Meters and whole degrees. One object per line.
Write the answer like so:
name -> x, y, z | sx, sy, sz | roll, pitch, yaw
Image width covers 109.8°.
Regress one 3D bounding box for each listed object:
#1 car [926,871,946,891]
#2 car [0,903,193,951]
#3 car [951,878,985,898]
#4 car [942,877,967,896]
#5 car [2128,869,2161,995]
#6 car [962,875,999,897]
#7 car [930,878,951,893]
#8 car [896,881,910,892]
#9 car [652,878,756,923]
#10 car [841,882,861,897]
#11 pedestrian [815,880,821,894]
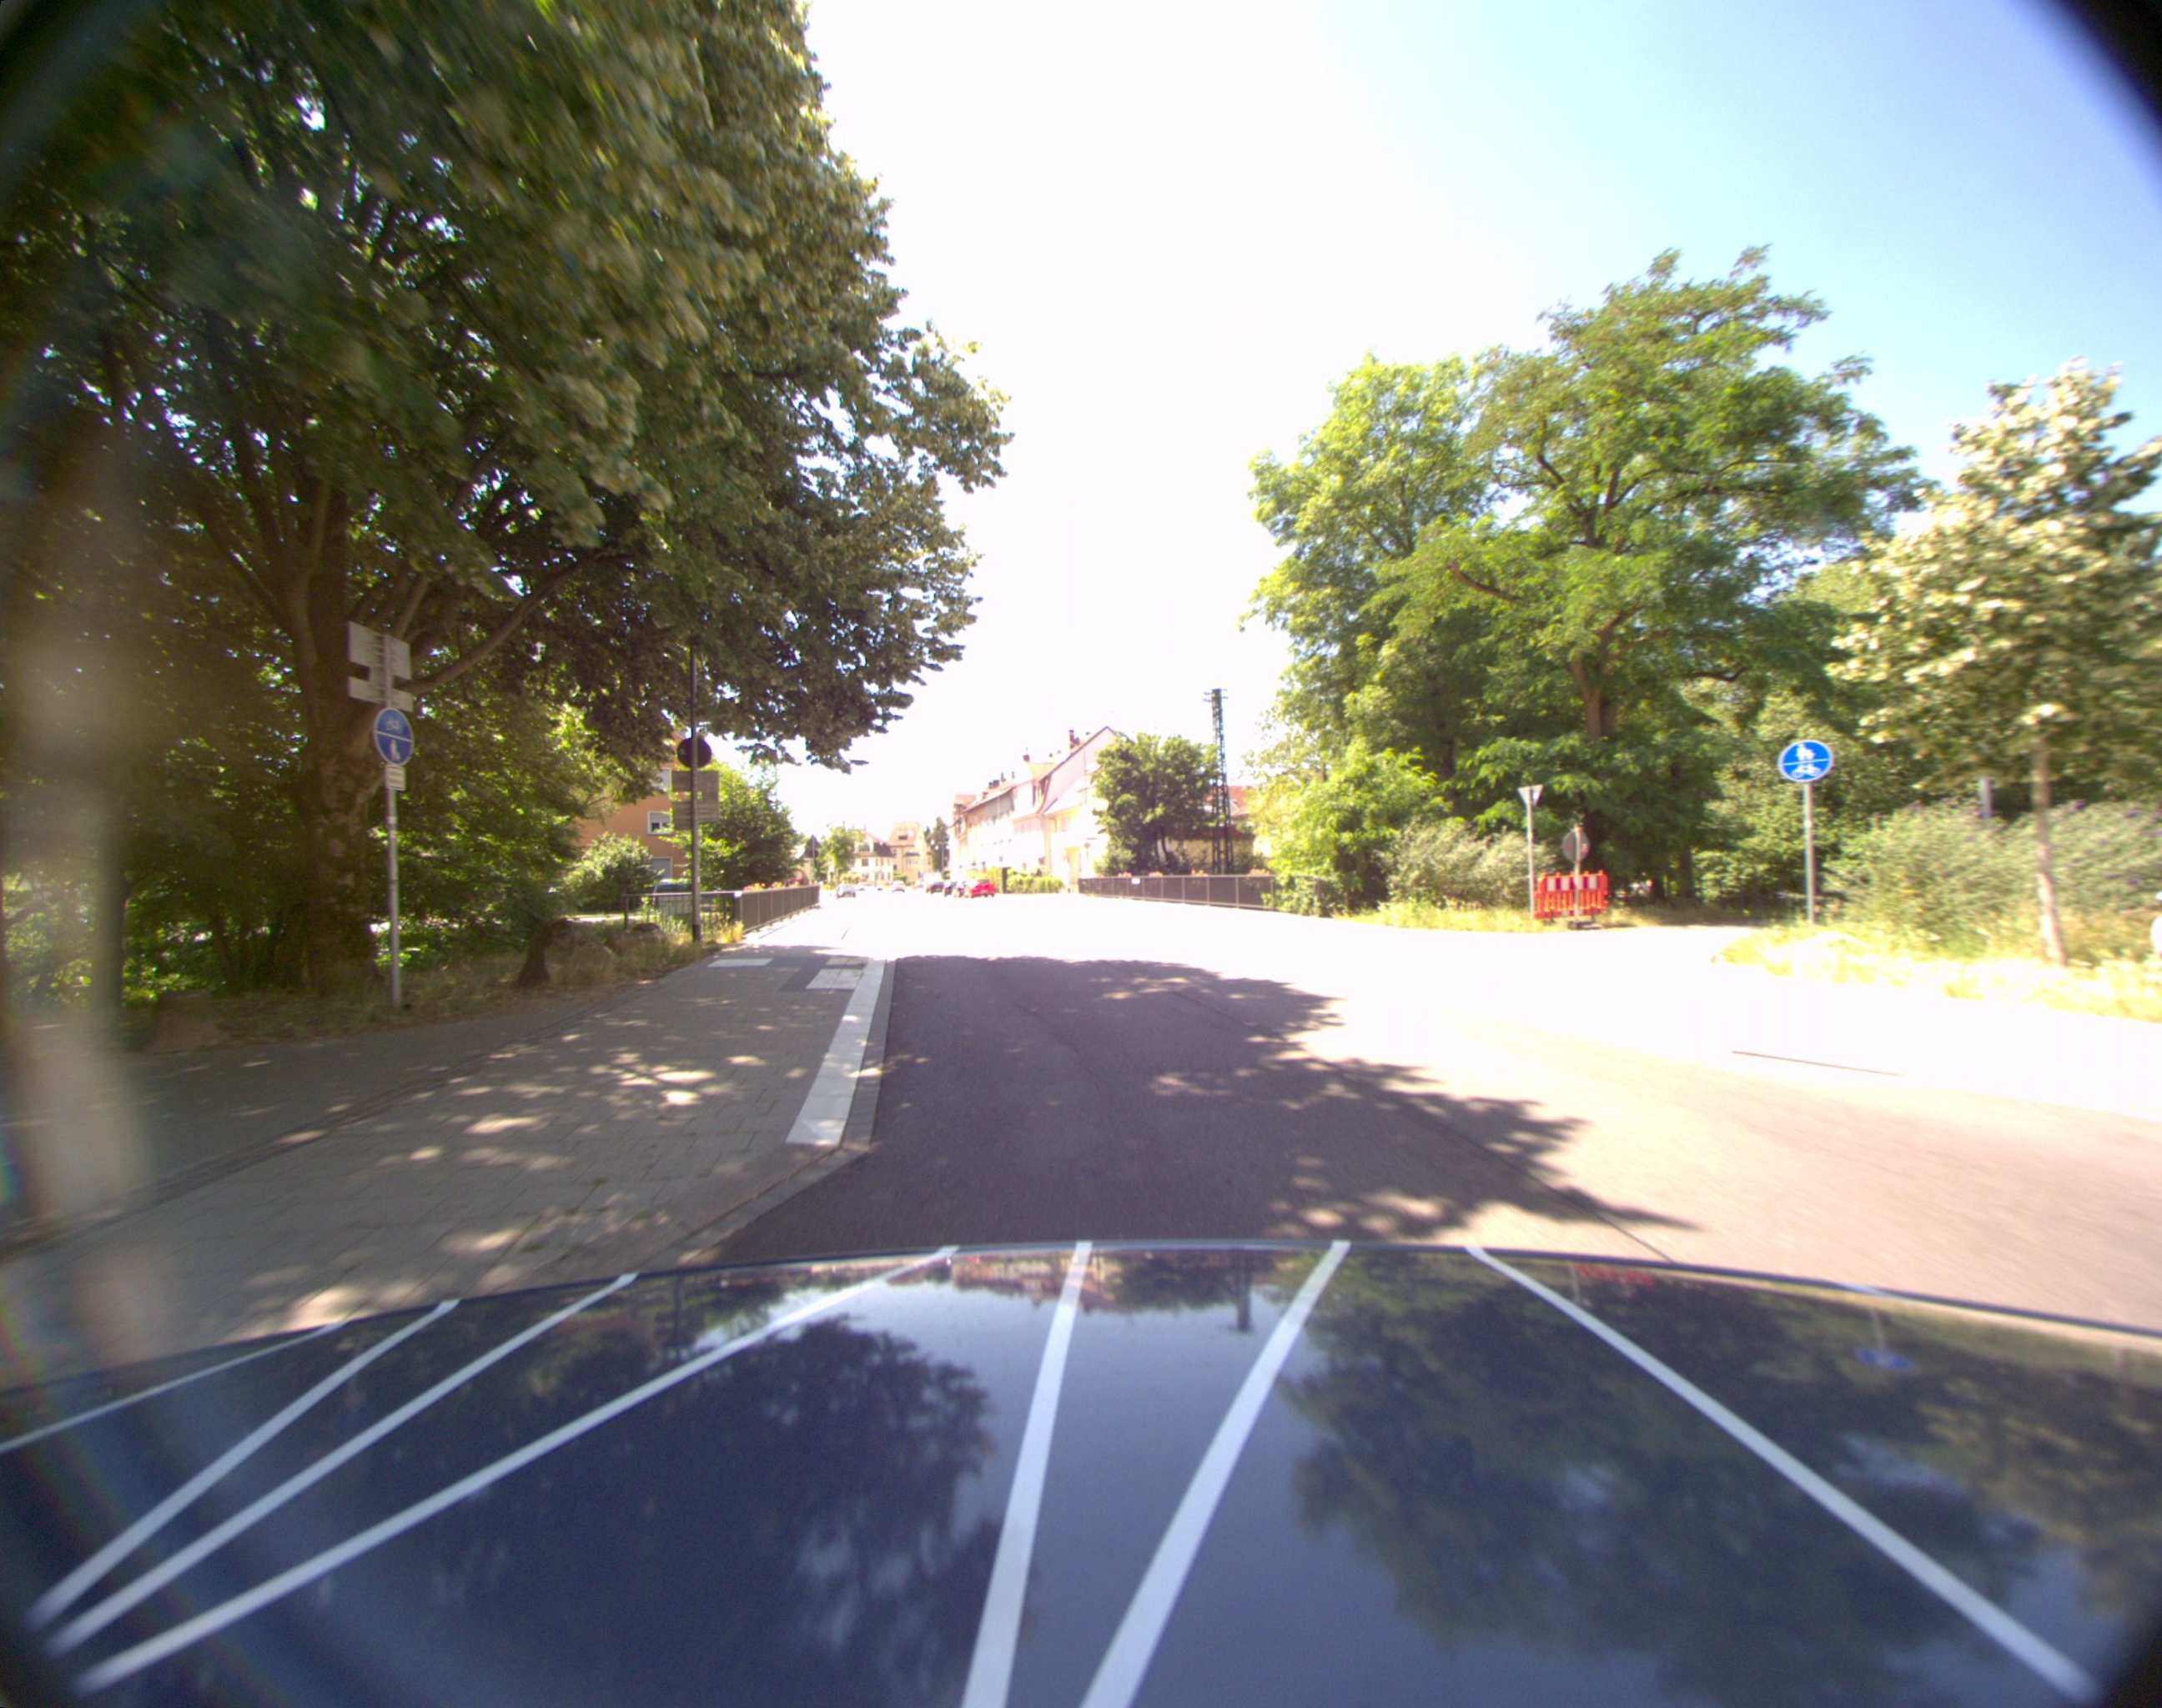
car -> -18.941, 3.505, 98.926 | 2.127, 2.434, 6.111 | -3, -1, -14
car -> -36.589, 2.664, 28.104 | 4.519, 1.415, 1.756 | -1, 1, -26
car -> -9.318, 2.793, 62.274 | 1.871, 1.452, 5.301 | -3, -2, -18
car -> -11.318, 2.898, 67.932 | 1.794, 1.450, 4.194 | -4, -1, -14
car -> 14.203, 0.840, 8.602 | 4.715, 1.348, 1.996 | 0, 0, -26
car -> -7.536, 2.379, 56.704 | 1.885, 1.471, 4.732 | -4, -1, -17
car -> -16.220, 3.629, 88.112 | 2.092, 1.604, 5.106 | -3, -2, -8
car -> -25.682, 4.691, 109.572 | 1.885, 1.587, 4.355 | 0, -2, -15
car -> -18.349, 2.218, 37.124 | 4.357, 1.828, 1.747 | -3, 0, -26
car -> -22.799, 3.497, 75.123 | 1.841, 1.494, 5.057 | 1, -2, -18
pedestrian -> -36.048, 4.473, 104.121 | 0.824, 1.842, 0.982 | 0, 0, -21
